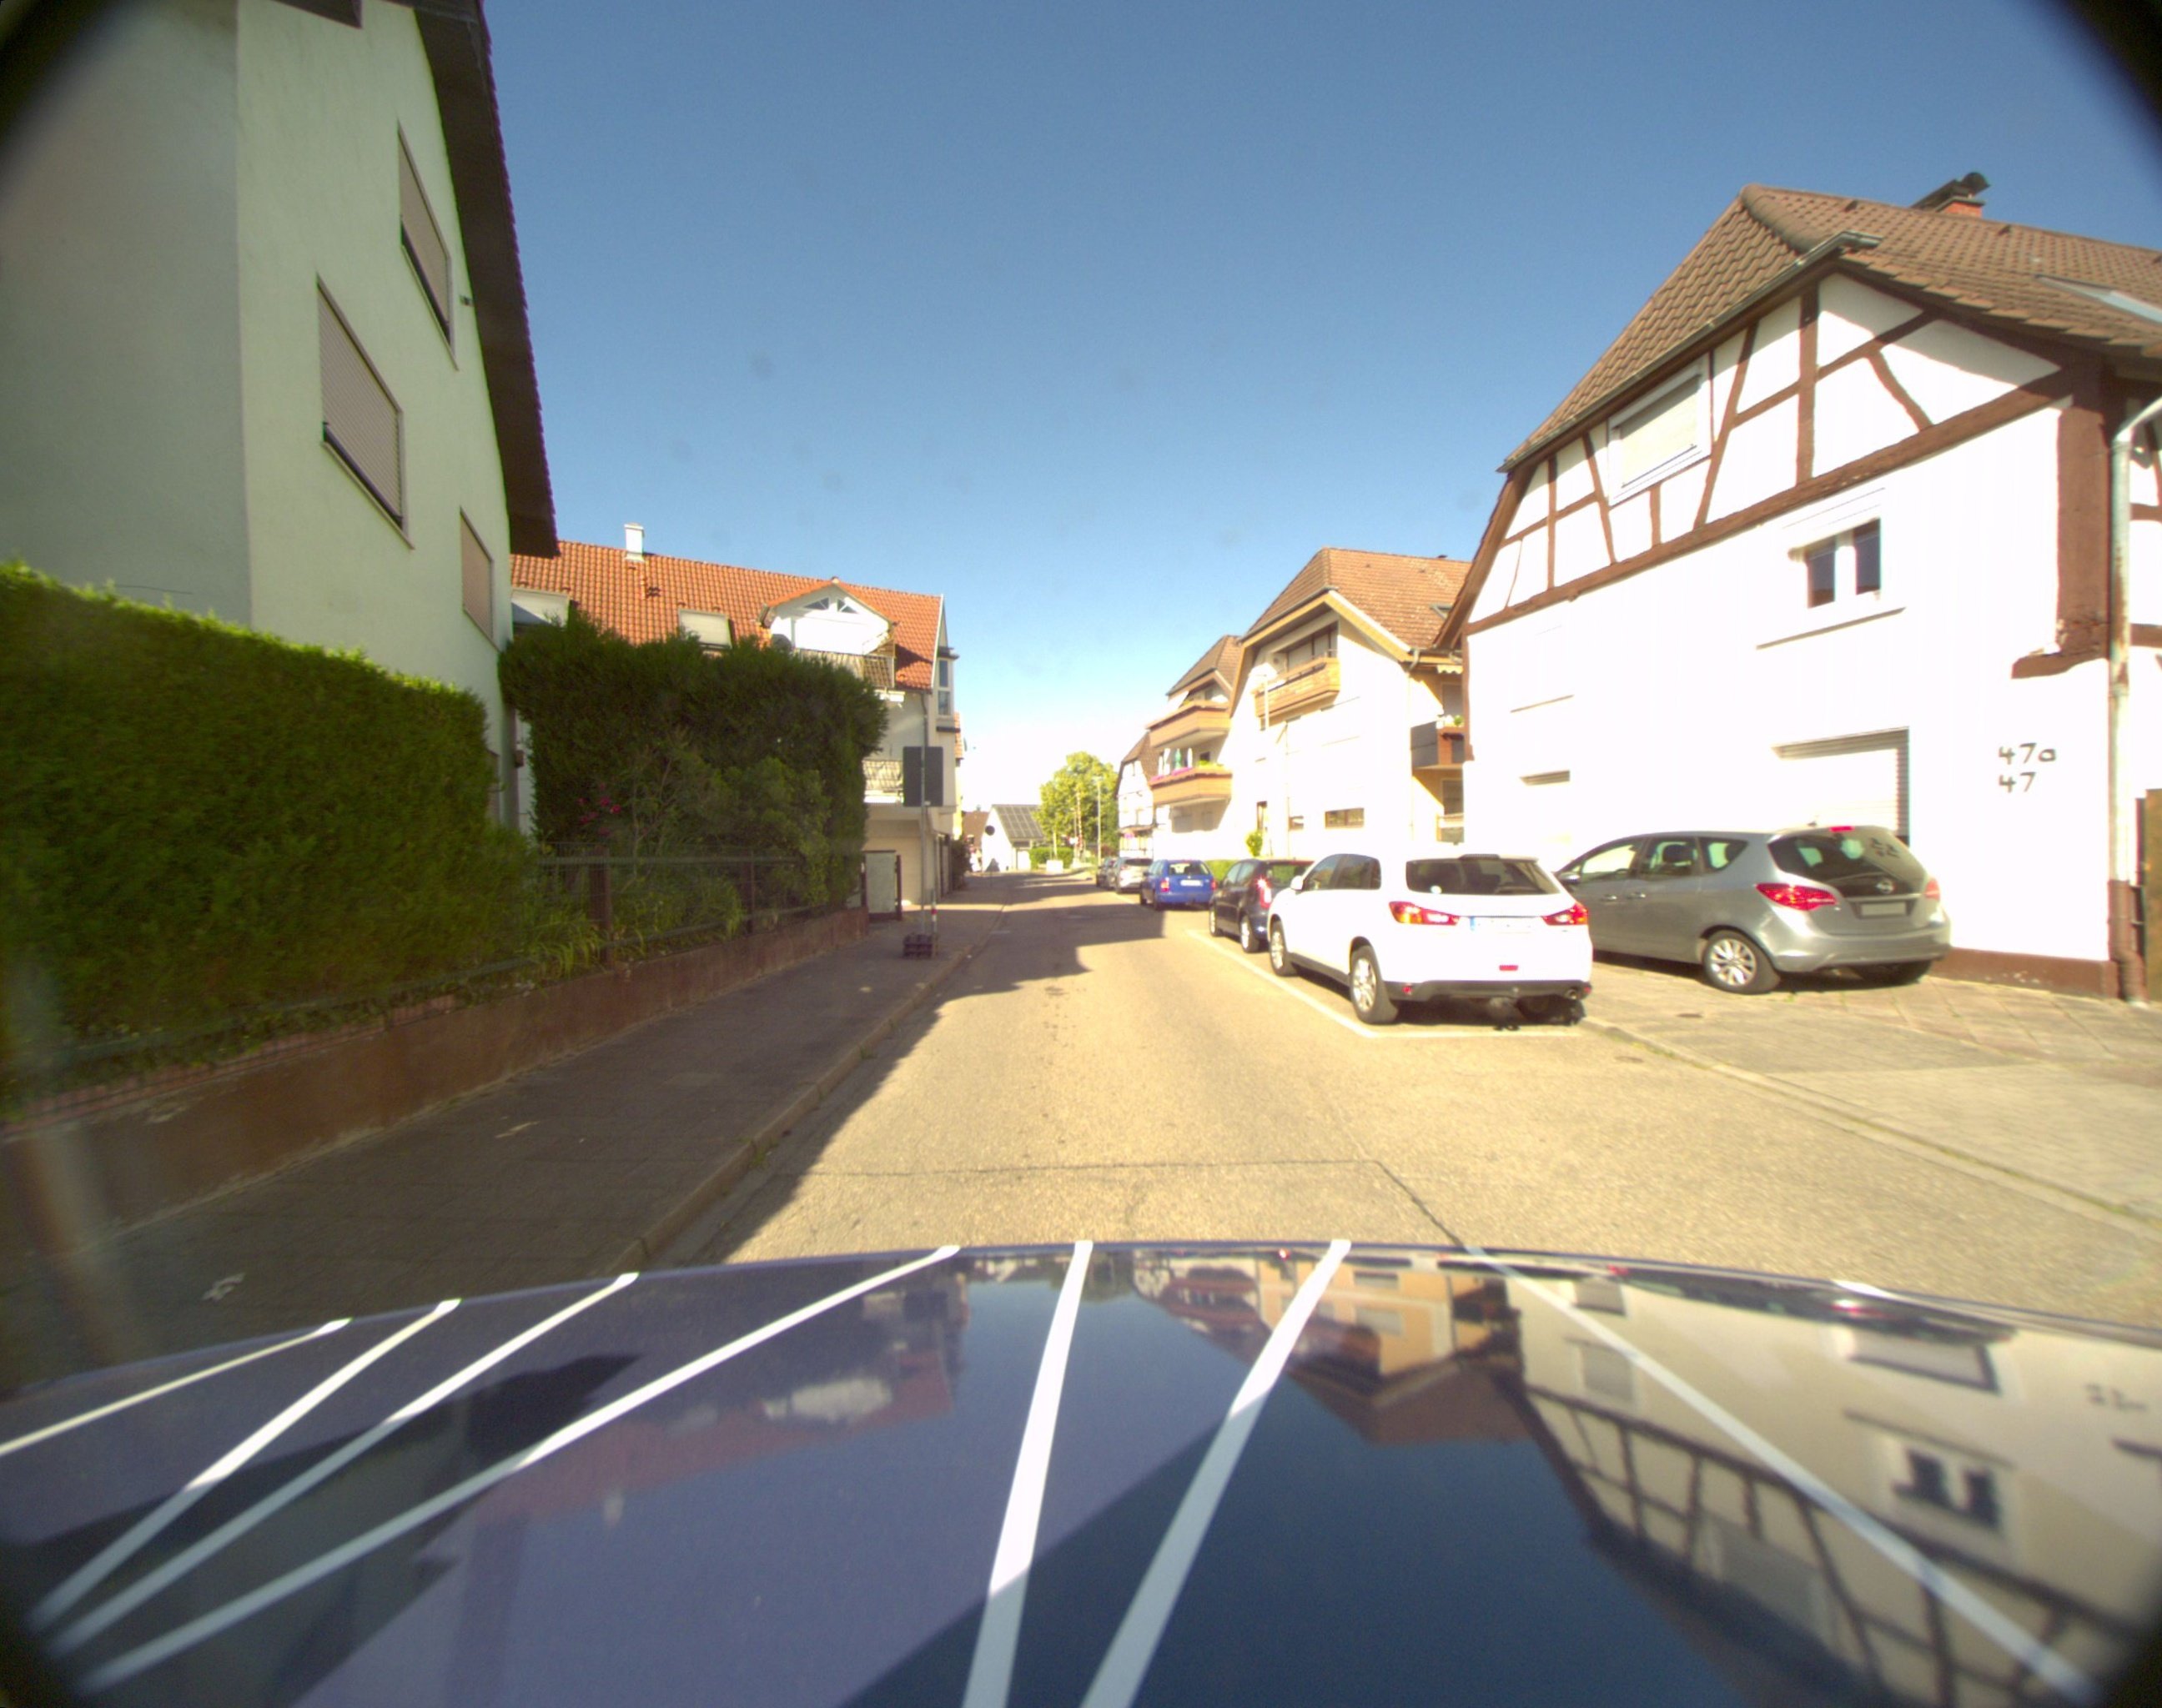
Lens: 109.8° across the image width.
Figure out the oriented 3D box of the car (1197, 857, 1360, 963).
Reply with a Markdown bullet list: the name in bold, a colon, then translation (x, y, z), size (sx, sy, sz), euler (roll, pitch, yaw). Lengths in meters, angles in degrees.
- **car**: translation (3.141, 0.817, 12.853), size (1.660, 1.498, 3.683), euler (-1, 0, -2)

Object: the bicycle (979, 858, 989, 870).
- **bicycle**: translation (-9.261, 0.944, 72.387), size (0.640, 1.175, 2.019), euler (-1, 0, -15)

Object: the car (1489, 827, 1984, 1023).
- **car**: translation (6.636, 0.582, 8.419), size (1.647, 1.577, 4.109), euler (-2, 0, -7)

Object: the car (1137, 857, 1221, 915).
- **car**: translation (2.719, 0.835, 21.927), size (1.623, 1.431, 3.954), euler (-2, 1, -4)

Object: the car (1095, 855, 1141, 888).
- **car**: translation (1.709, 0.794, 36.069), size (1.628, 1.468, 3.613), euler (-1, 0, -6)

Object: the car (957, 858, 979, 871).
- **car**: translation (-13.318, 1.275, 89.703), size (1.549, 1.450, 3.708), euler (-2, 0, -25)

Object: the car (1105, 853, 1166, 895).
- **car**: translation (2.113, 0.767, 30.616), size (1.764, 1.547, 3.998), euler (-1, 0, -6)

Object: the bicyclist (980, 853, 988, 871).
- **bicyclist**: translation (-9.242, 0.752, 72.315), size (0.644, 1.655, 0.604), euler (4, 1, -14)

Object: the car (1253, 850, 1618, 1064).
- **car**: translation (3.198, 0.781, 7.878), size (1.727, 1.609, 4.111), euler (-1, 0, -2)
